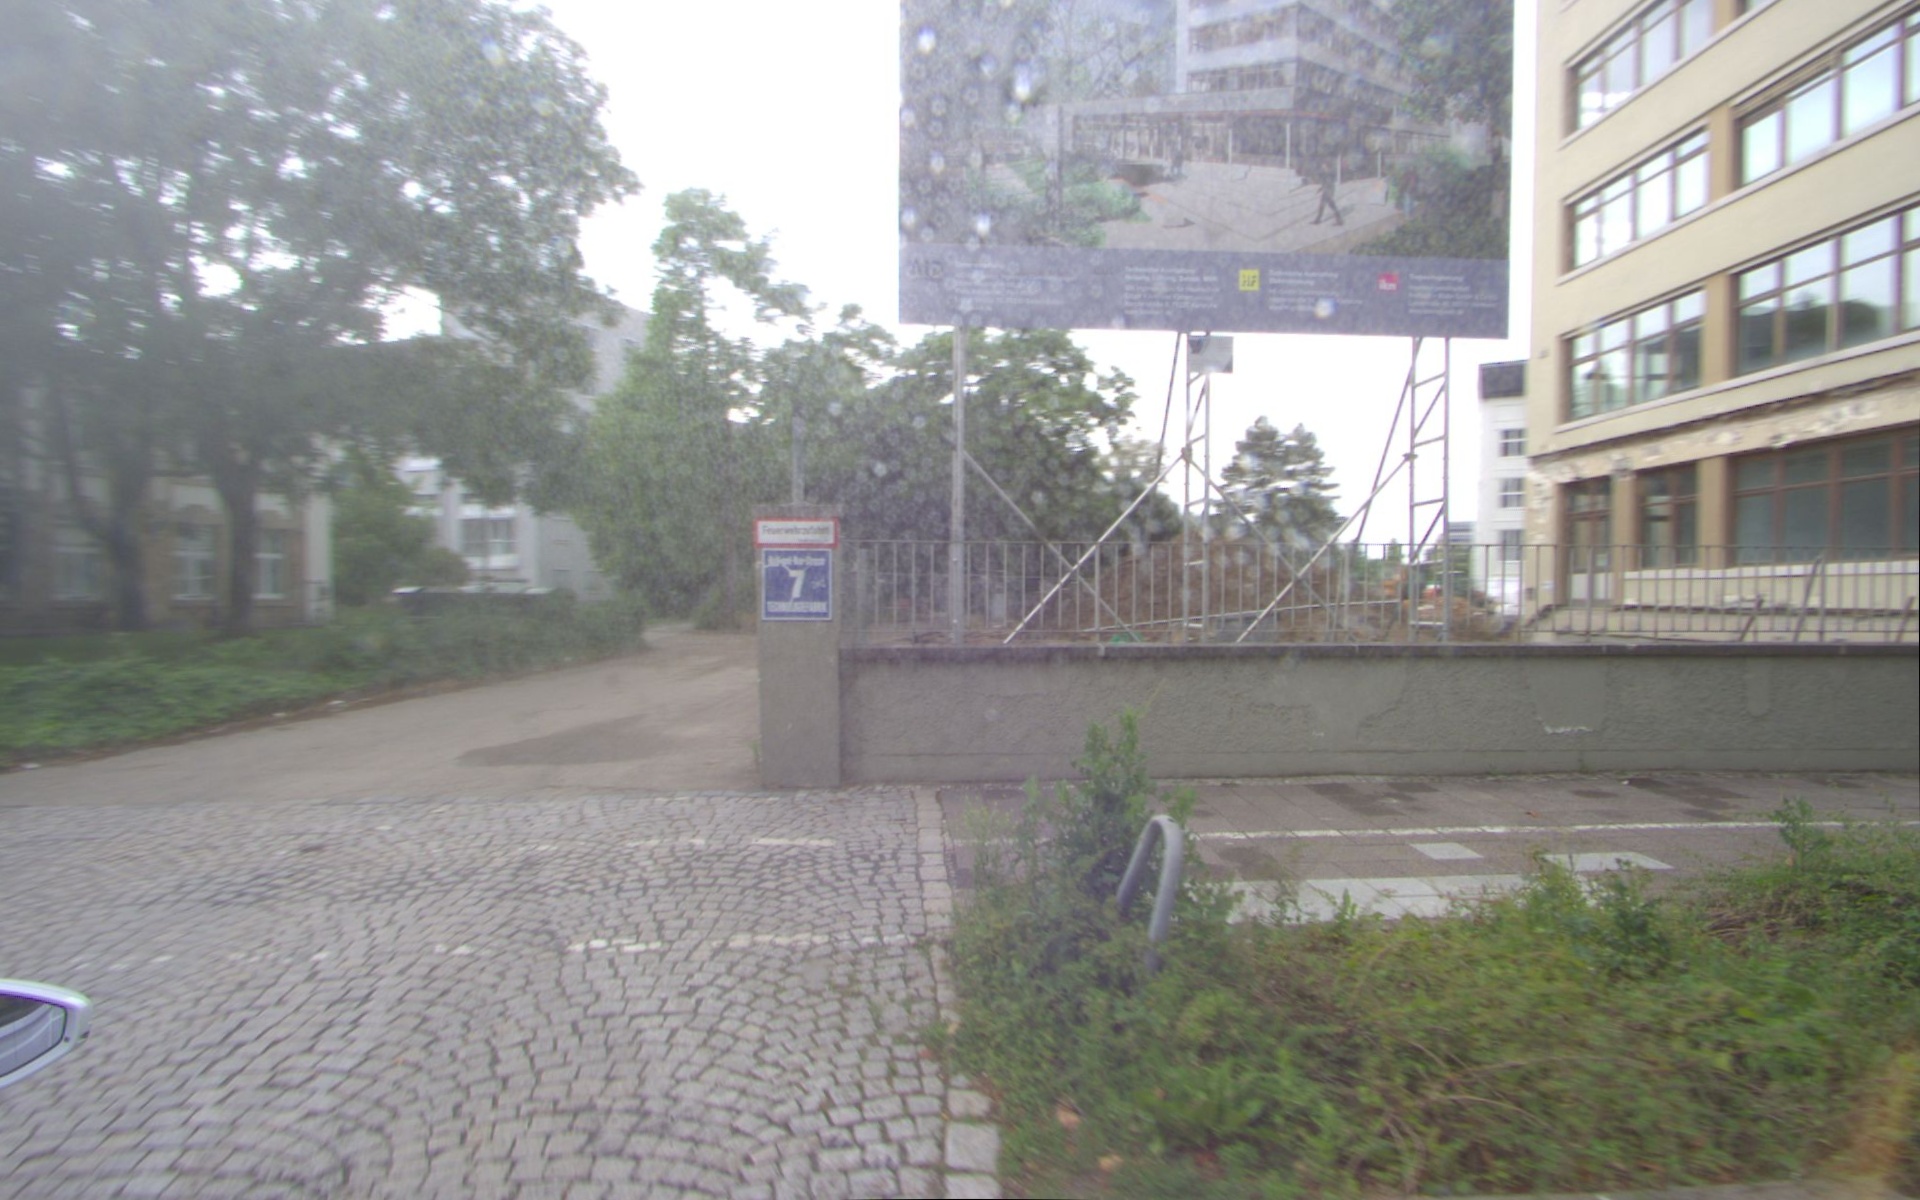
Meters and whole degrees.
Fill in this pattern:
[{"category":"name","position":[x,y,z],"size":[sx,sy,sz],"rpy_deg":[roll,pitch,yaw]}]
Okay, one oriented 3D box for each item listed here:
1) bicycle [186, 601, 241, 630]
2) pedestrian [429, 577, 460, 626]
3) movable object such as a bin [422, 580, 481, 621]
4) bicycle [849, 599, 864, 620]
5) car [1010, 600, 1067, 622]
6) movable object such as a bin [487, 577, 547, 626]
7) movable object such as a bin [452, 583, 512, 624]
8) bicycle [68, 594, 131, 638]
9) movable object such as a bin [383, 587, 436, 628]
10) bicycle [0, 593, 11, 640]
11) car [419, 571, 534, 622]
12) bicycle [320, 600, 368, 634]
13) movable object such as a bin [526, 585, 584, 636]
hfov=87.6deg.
[{"category":"bicycle","position":[-22.180,0.456,29.752],"size":[1.915,0.824,0.616],"rpy_deg":[1,1,31]},{"category":"pedestrian","position":[-19.786,0.054,38.460],"size":[0.686,1.833,0.754],"rpy_deg":[-1,1,20]},{"category":"movable object such as a bin","position":[-16.347,0.004,32.231],"size":[1.329,1.282,1.054],"rpy_deg":[1,1,16]},{"category":"bicycle","position":[-4.643,0.411,44.817],"size":[0.412,0.918,1.153],"rpy_deg":[1,1,7]},{"category":"car","position":[5.669,0.779,72.162],"size":[3.652,1.521,1.860],"rpy_deg":[1,1,27]},{"category":"movable object such as a bin","position":[-13.672,0.051,30.932],"size":[1.330,1.475,1.054],"rpy_deg":[0,1,19]},{"category":"movable object such as a bin","position":[-15.042,0.098,31.528],"size":[1.330,1.282,1.054],"rpy_deg":[1,1,19]},{"category":"bicycle","position":[-23.280,0.412,27.090],"size":[2.188,1.135,0.616],"rpy_deg":[1,1,31]},{"category":"movable object such as a bin","position":[-17.861,0.233,32.488],"size":[1.336,1.282,1.049],"rpy_deg":[1,1,37]},{"category":"bicycle","position":[-24.278,0.404,24.748],"size":[2.188,1.135,0.616],"rpy_deg":[1,1,31]},{"category":"car","position":[-20.309,-0.136,42.262],"size":[1.822,2.040,4.343],"rpy_deg":[0,0,20]},{"category":"bicycle","position":[-20.513,0.557,33.327],"size":[1.797,1.080,0.395],"rpy_deg":[1,1,22]},{"category":"movable object such as a bin","position":[-12.270,0.296,30.344],"size":[1.335,1.470,1.050],"rpy_deg":[3,2,32]}]
